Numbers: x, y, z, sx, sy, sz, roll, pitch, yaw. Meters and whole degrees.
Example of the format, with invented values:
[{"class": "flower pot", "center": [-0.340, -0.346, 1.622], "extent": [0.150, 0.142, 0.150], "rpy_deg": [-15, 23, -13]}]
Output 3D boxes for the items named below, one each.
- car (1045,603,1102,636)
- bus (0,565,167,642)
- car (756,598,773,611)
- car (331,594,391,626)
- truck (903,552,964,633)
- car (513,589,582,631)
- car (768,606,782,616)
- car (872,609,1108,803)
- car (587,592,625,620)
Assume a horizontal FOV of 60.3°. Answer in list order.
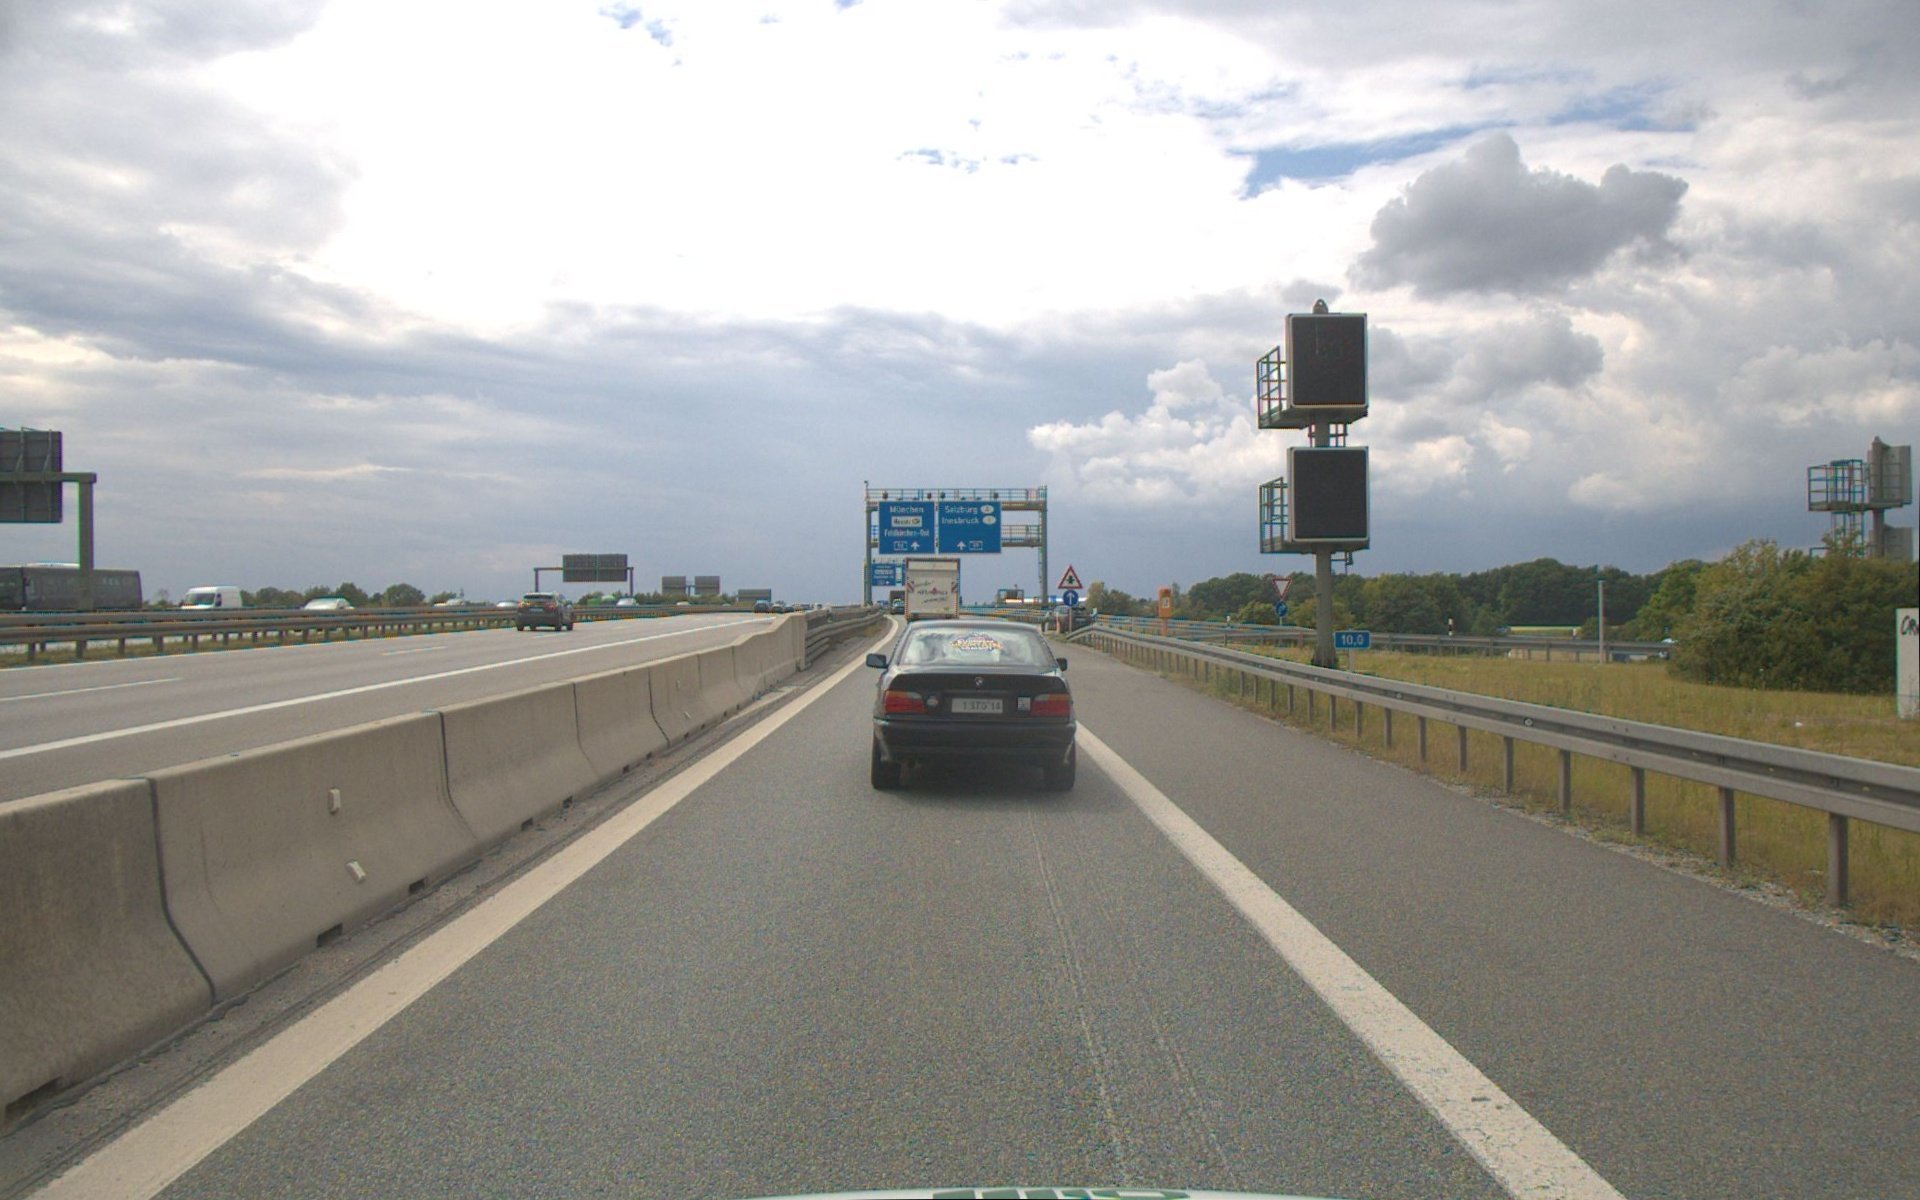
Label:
[{"class": "car", "center": [5.757, 0.978, 84.381], "extent": [1.957, 1.579, 3.991], "rpy_deg": [1, 0, -10]}, {"class": "bus", "center": [-43.820, 0.143, 82.158], "extent": [3.150, 3.503, 12.984], "rpy_deg": [1, 0, -3]}, {"class": "car", "center": [-25.236, 0.582, 213.943], "extent": [1.954, 1.691, 4.380], "rpy_deg": [1, 0, -4]}, {"class": "car", "center": [-28.767, 0.455, 79.489], "extent": [1.492, 1.489, 3.999], "rpy_deg": [1, 0, -2]}, {"class": "truck", "center": [-1.134, -0.302, 67.666], "extent": [2.356, 3.144, 6.367], "rpy_deg": [1, 0, -2]}, {"class": "car", "center": [-17.053, 0.400, 68.582], "extent": [1.854, 1.625, 4.416], "rpy_deg": [1, 0, -2]}, {"class": "car", "center": [-28.604, 1.690, 255.689], "extent": [1.954, 1.568, 3.996], "rpy_deg": [1, 0, -4]}, {"class": "car", "center": [0.219, 0.805, 14.403], "extent": [1.746, 1.402, 4.136], "rpy_deg": [1, 0, 0]}, {"class": "car", "center": [-22.964, 0.372, 107.298], "extent": [1.633, 1.736, 3.999], "rpy_deg": [1, 0, -1]}]
